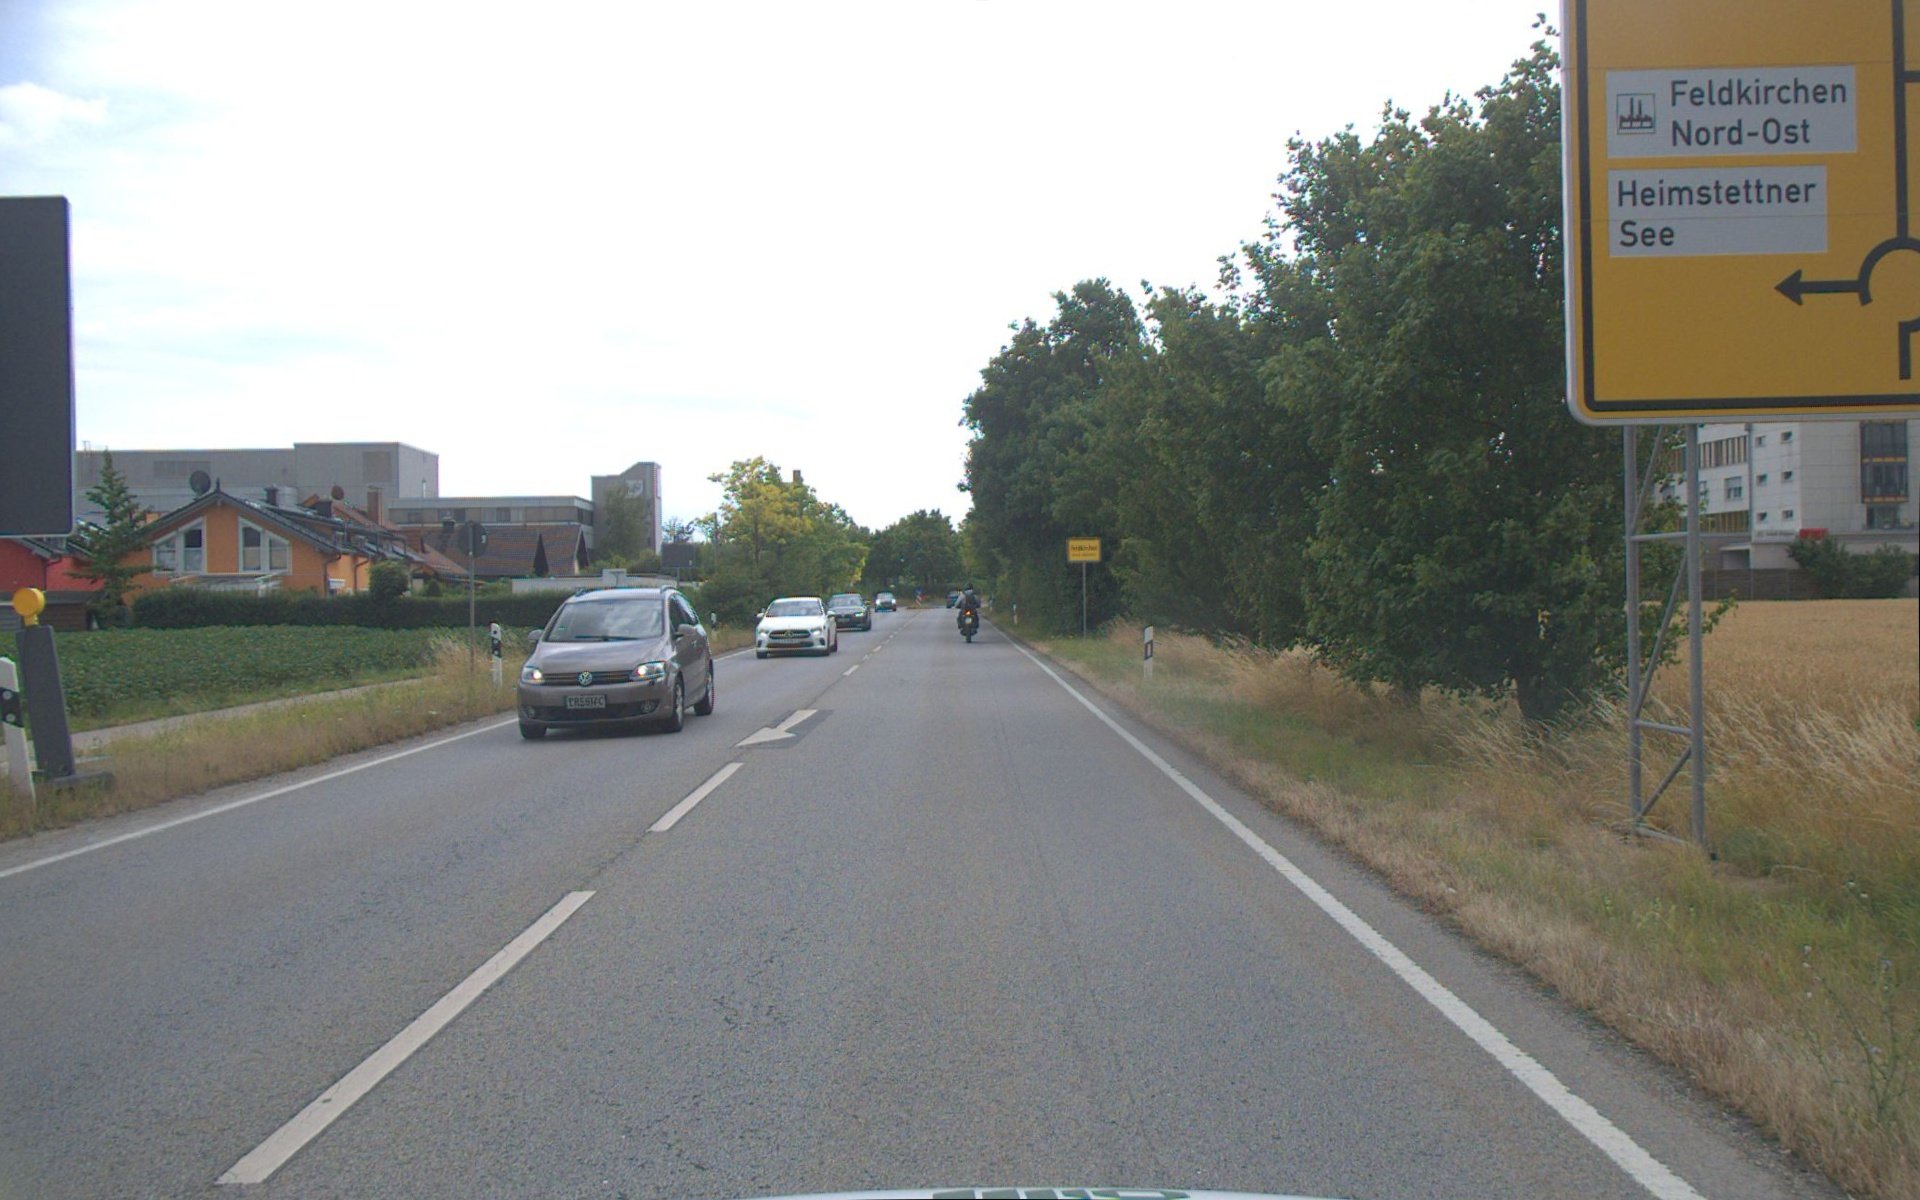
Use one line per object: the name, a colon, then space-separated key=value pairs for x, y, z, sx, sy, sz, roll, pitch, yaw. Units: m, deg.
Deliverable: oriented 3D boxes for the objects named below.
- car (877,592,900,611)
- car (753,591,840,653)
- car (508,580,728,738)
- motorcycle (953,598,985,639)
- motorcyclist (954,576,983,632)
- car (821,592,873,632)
car: x=-5.961 y=0.101 z=138.198 sx=1.779 sy=1.520 sz=4.203 roll=-2 pitch=0 yaw=-1
car: x=-4.033 y=0.524 z=41.352 sx=1.737 sy=1.397 sz=4.099 roll=-3 pitch=0 yaw=-1
car: x=-3.856 y=0.607 z=19.335 sx=1.670 sy=1.566 sz=4.300 roll=-3 pitch=0 yaw=-1
motorcycle: x=0.258 y=0.538 z=50.032 sx=0.878 sy=1.178 sz=2.620 roll=-1 pitch=0 yaw=-1
motorcyclist: x=0.248 y=0.113 z=50.044 sx=0.844 sy=1.652 sz=1.190 roll=-1 pitch=0 yaw=-1
car: x=-4.498 y=0.456 z=66.358 sx=1.815 sy=1.490 sz=4.370 roll=-2 pitch=0 yaw=-1
